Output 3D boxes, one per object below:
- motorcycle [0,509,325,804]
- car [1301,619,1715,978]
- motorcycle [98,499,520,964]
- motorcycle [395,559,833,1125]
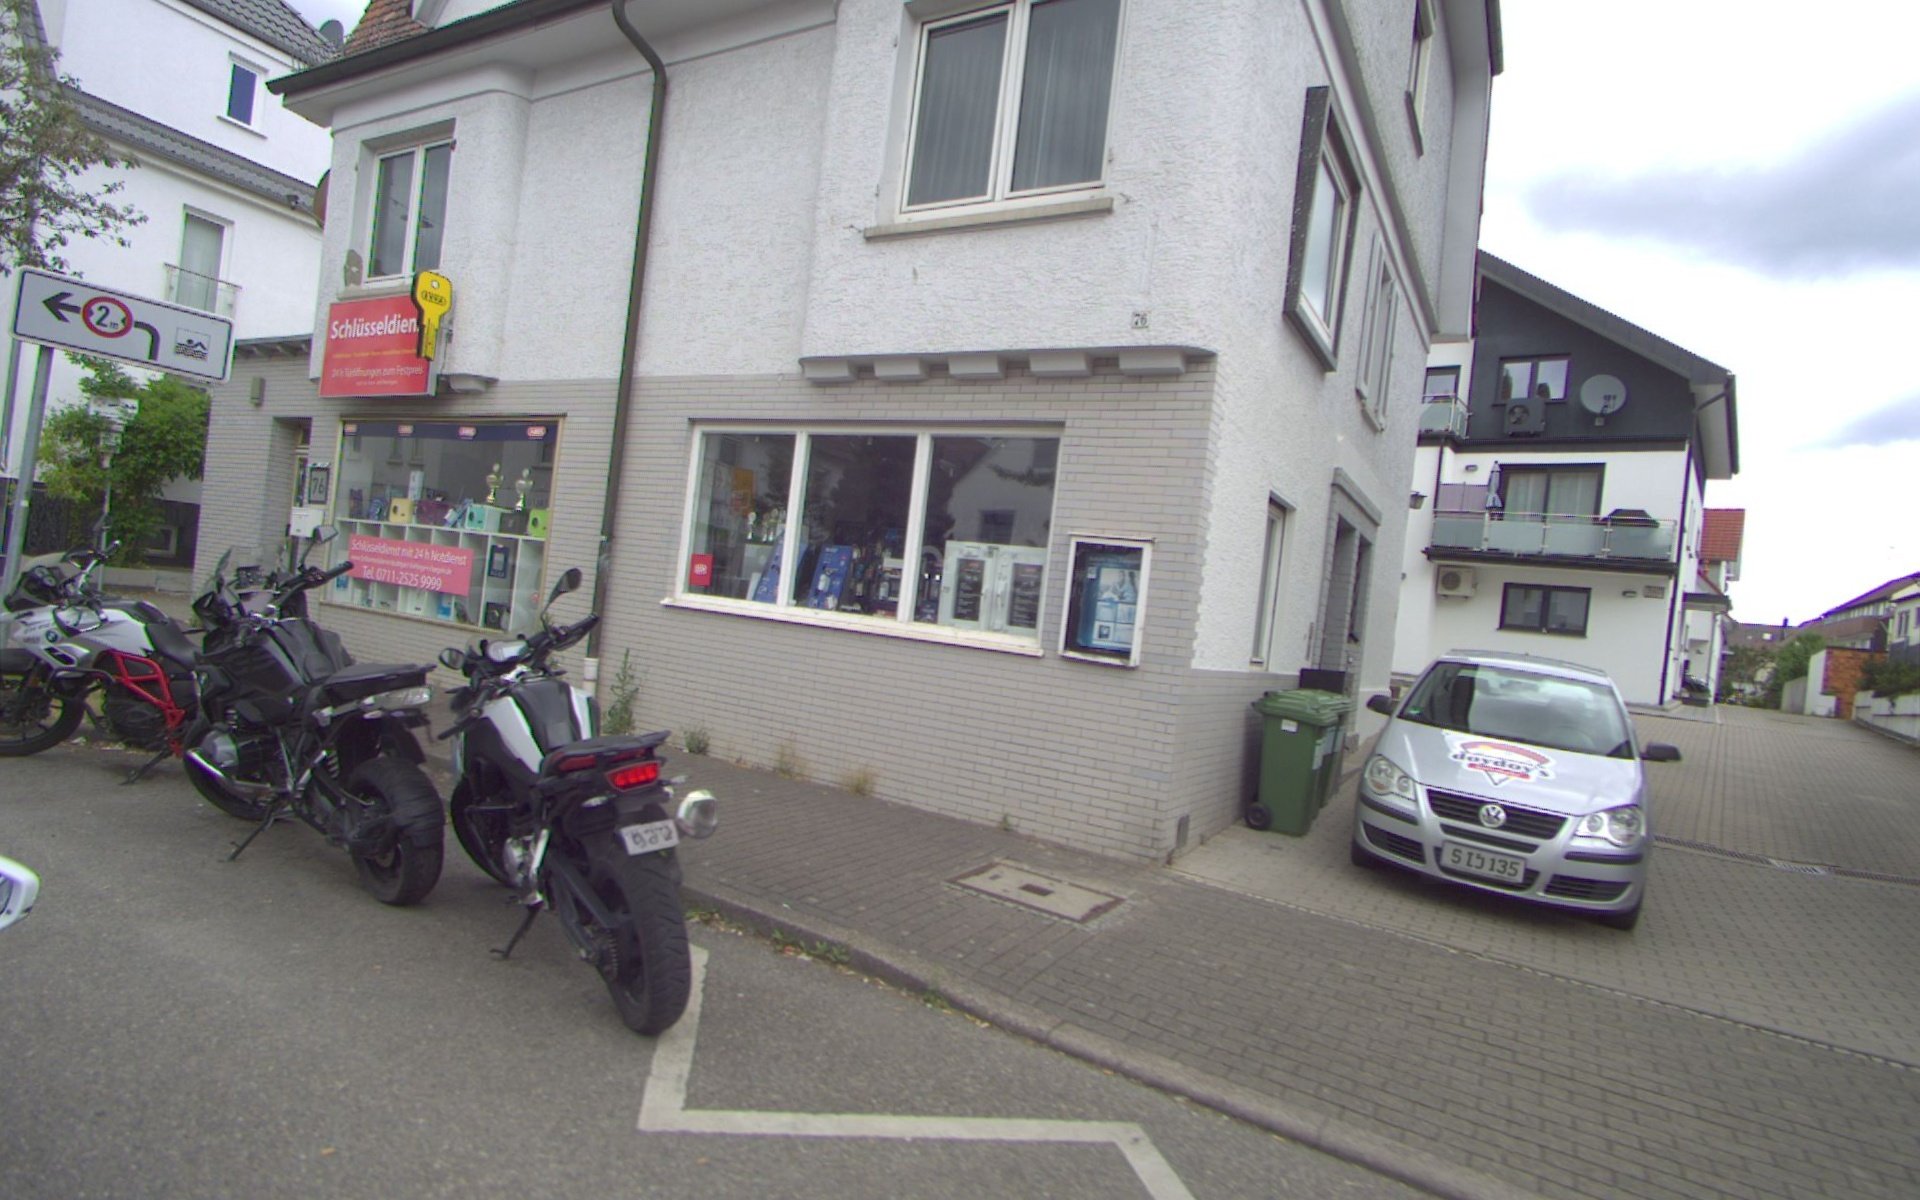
[{"bbox_3d":[-5.010,0.251,5.639,2.204,1.398,0.775,8,0,-6],"label":"motorcycle"},{"bbox_3d":[3.961,1.078,7.278,1.824,1.609,4.200,7,2,31],"label":"car"},{"bbox_3d":[-3.030,0.403,4.508,2.559,1.543,0.670,7,-1,39],"label":"motorcycle"},{"bbox_3d":[-1.492,0.652,3.867,0.645,1.457,2.443,7,-1,-39],"label":"motorcycle"}]
